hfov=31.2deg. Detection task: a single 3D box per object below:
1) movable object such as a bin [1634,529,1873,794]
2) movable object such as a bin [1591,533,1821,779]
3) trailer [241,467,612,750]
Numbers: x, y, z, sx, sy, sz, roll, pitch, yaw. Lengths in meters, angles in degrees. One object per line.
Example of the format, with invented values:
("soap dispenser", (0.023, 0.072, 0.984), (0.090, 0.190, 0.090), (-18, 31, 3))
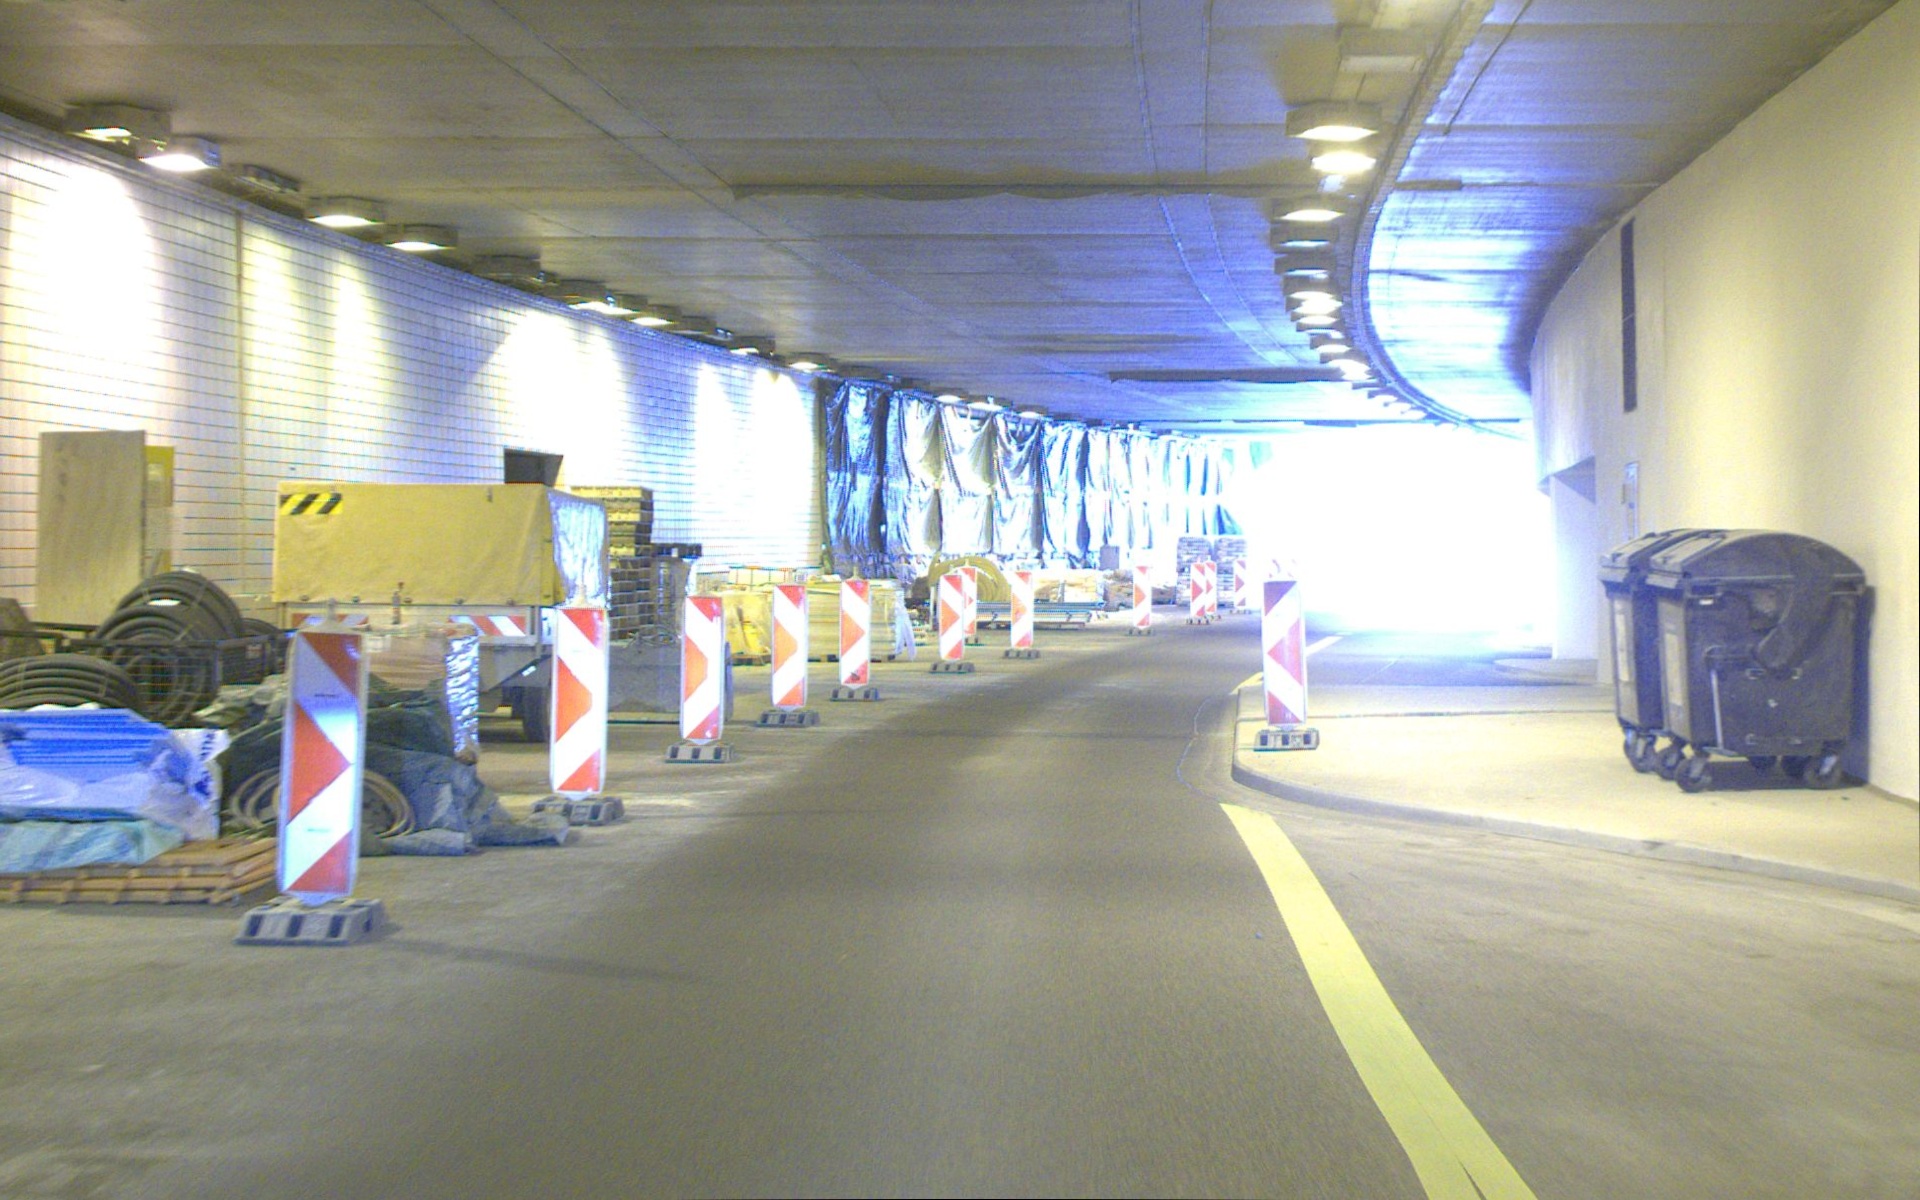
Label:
("movable object such as a bin", (4.488, 0.332, 19.543), (1.097, 1.440, 1.322), (0, 0, 3))
("movable object such as a bin", (4.517, 0.323, 20.930), (1.145, 1.440, 1.364), (0, 0, 3))
("trailer", (-3.991, 0.047, 26.313), (2.208, 2.007, 3.466), (0, 0, 2))
